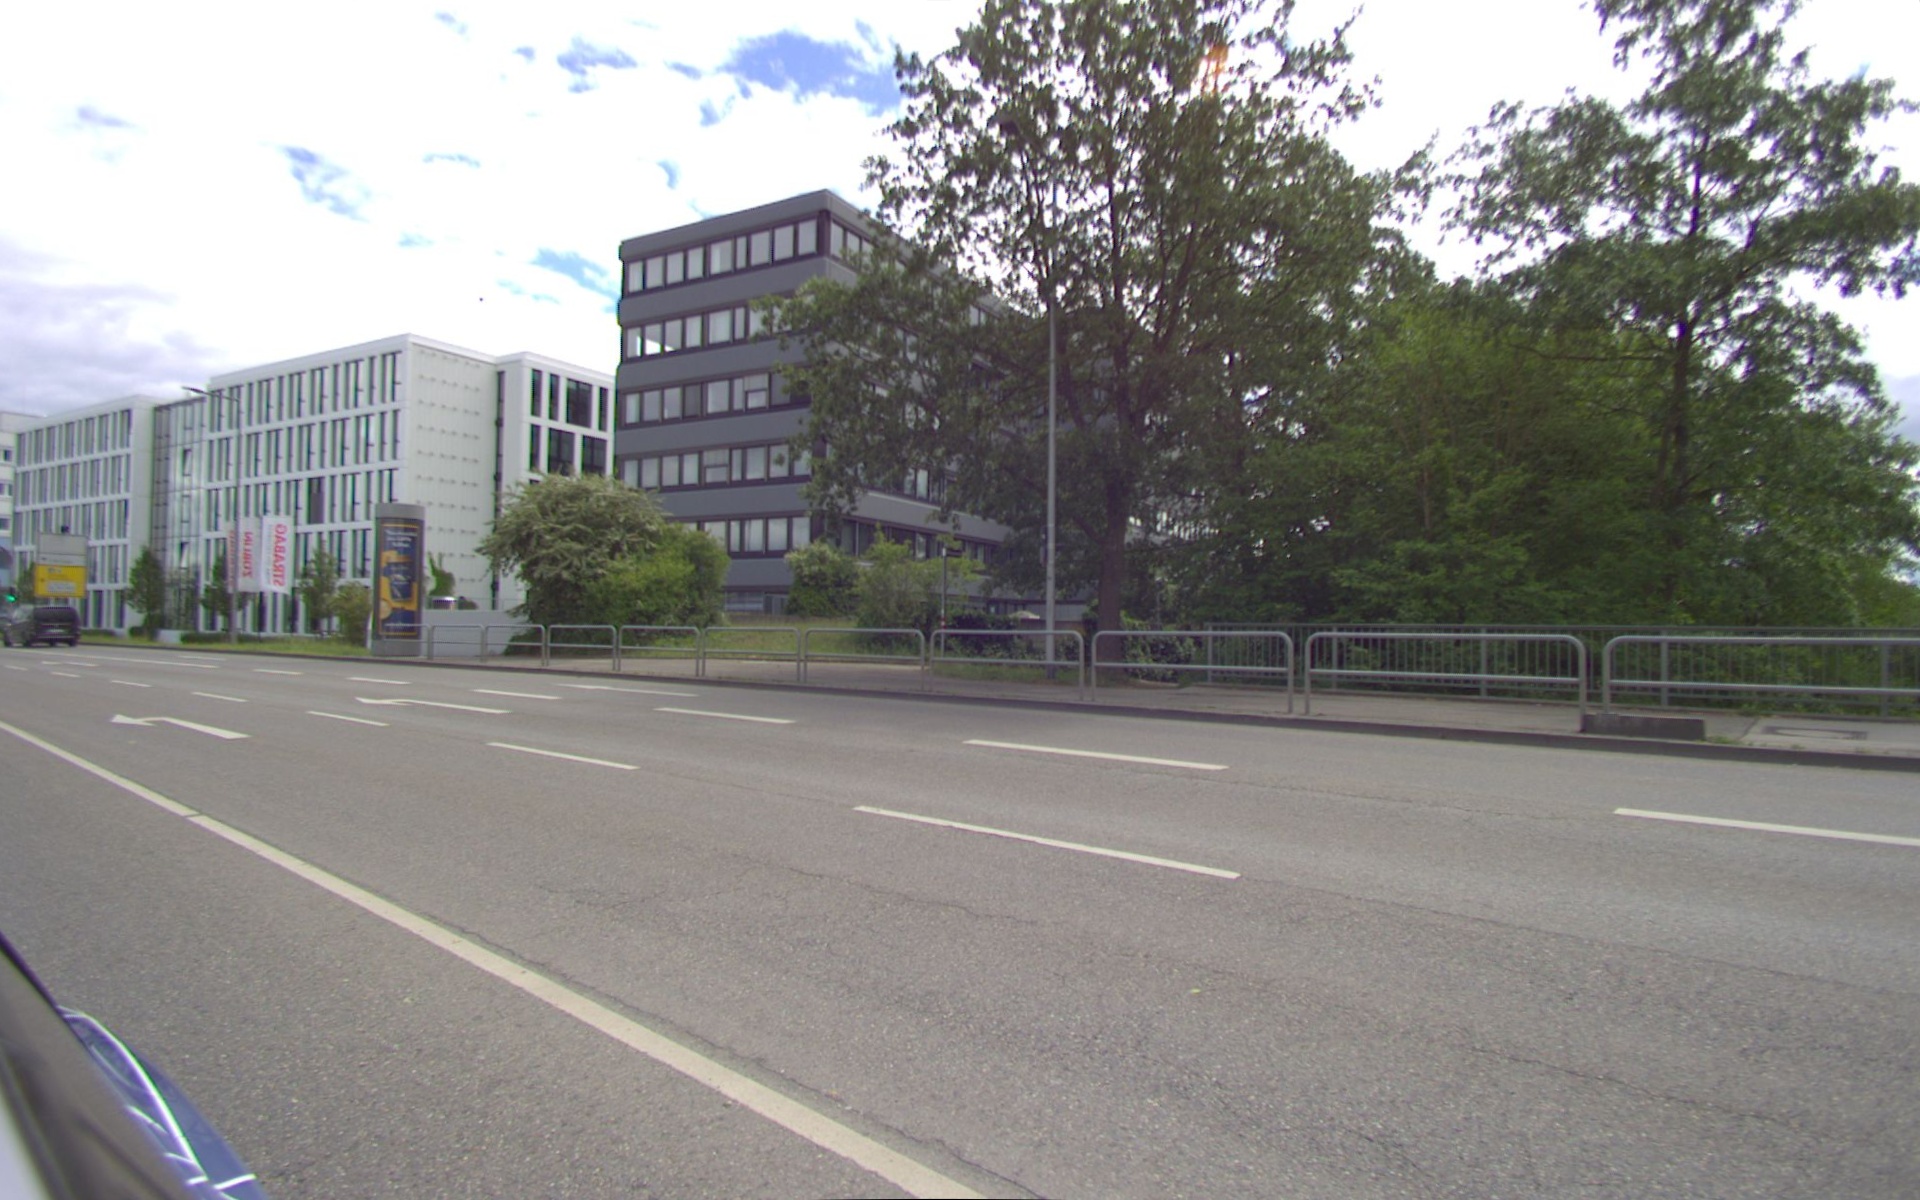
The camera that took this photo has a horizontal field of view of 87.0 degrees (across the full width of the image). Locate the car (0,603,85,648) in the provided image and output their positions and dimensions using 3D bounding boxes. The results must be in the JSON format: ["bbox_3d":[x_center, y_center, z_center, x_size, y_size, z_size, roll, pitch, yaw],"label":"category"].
[{"bbox_3d":[-42.470,1.159,46.808,5.357,1.962,1.999,-1,-2,38],"label":"car"}]
